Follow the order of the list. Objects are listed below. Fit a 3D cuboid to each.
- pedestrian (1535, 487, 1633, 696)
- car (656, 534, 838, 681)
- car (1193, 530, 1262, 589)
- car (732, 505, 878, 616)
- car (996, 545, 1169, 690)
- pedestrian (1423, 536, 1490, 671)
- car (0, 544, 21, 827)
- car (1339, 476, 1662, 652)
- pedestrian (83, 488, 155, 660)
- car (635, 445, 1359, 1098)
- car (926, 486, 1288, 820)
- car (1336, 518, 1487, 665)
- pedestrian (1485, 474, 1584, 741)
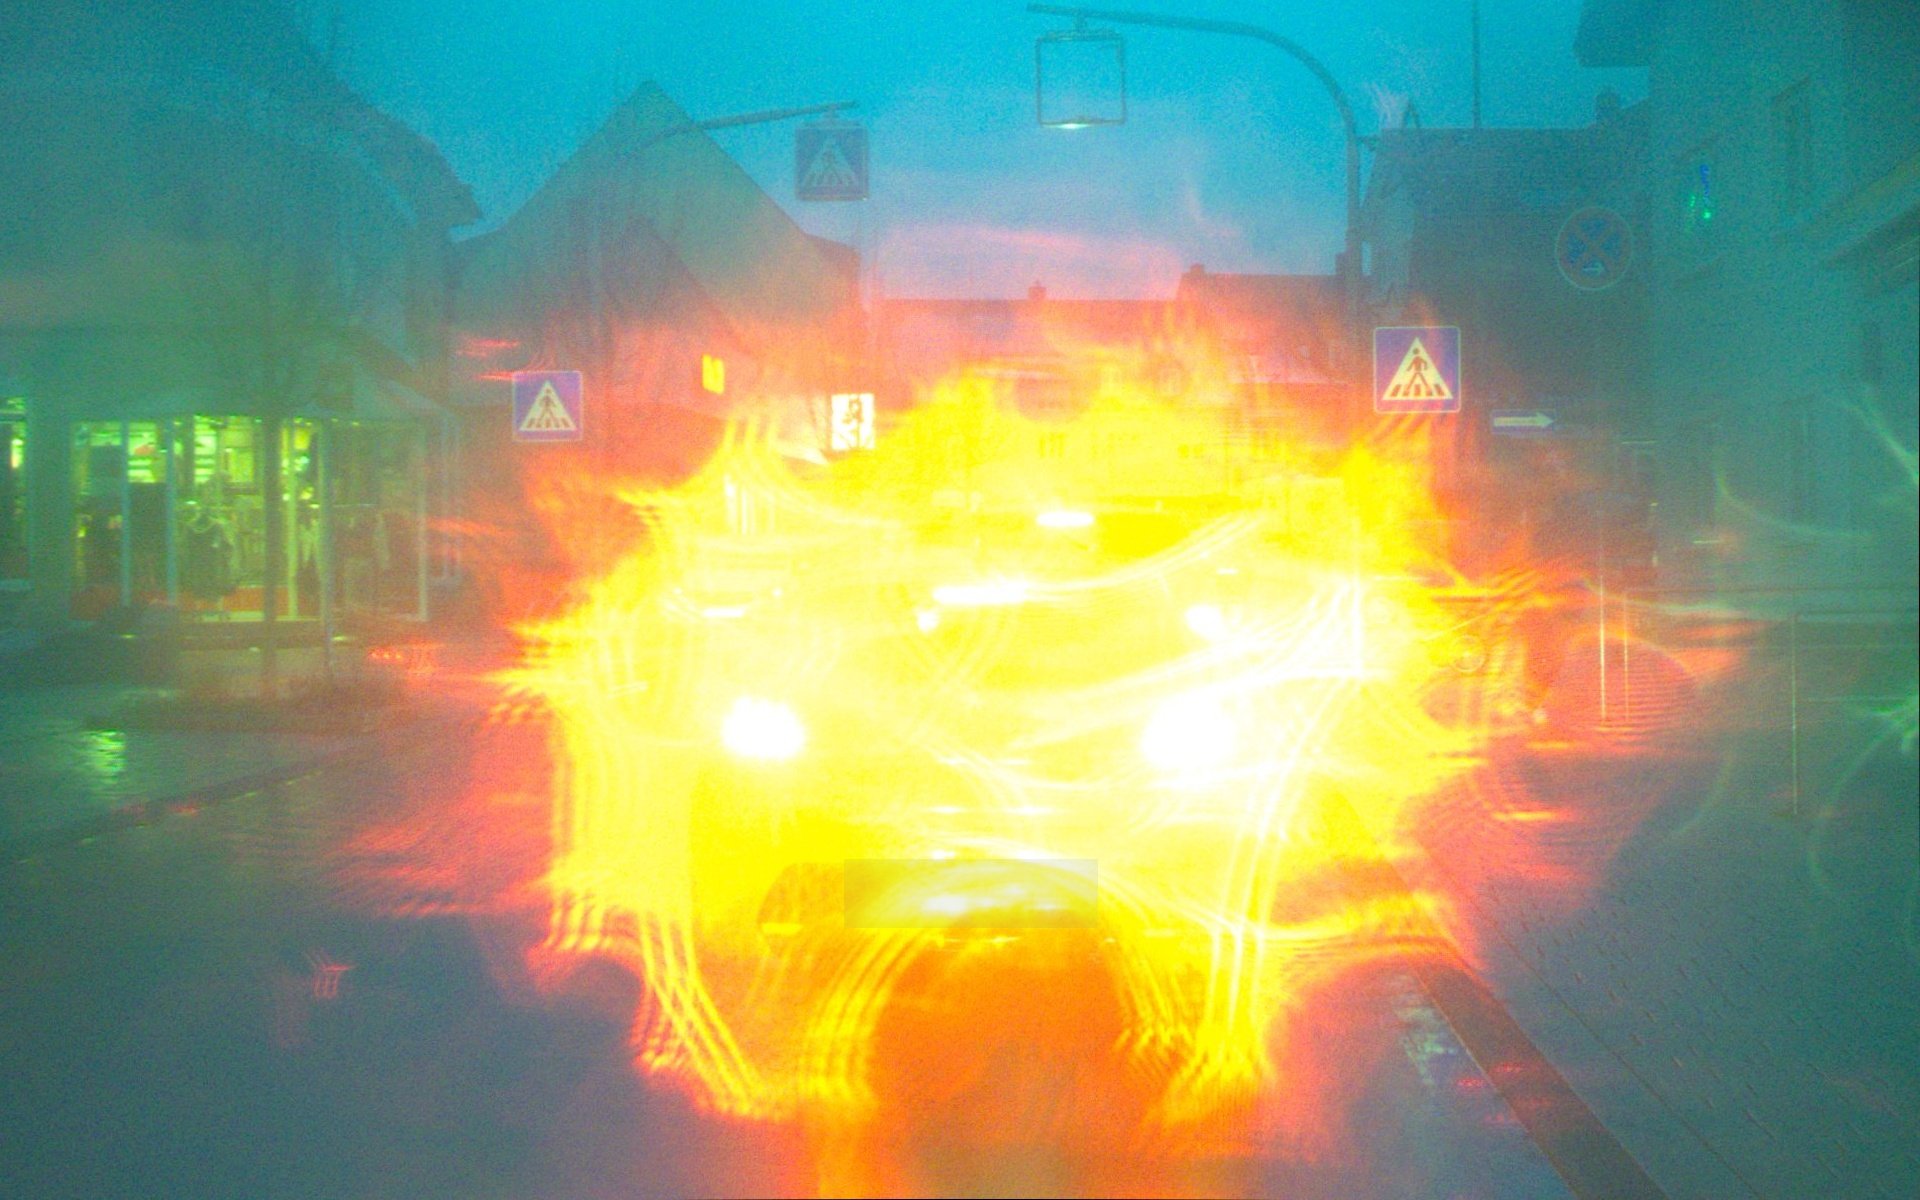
[{"bbox_3d":[5.674,-0.088,31.276,0.703,1.870,0.617,1,2,-3],"label":"pedestrian"},{"bbox_3d":[-2.987,0.069,49.124,1.994,2.007,4.361,0,1,5],"label":"car"},{"bbox_3d":[6.708,-1.034,86.432,1.534,1.241,3.647,-5,2,3],"label":"car"},{"bbox_3d":[-2.499,-0.664,56.291,1.994,1.746,4.361,0,1,3],"label":"car"},{"bbox_3d":[1.498,0.156,40.451,1.827,1.596,4.581,0,1,5],"label":"car"},{"bbox_3d":[4.559,0.029,31.582,0.553,1.229,0.434,0,1,-1],"label":"pedestrian"},{"bbox_3d":[-6.021,0.469,16.647,1.670,1.511,4.000,2,1,2],"label":"car"},{"bbox_3d":[6.395,-0.436,40.975,3.698,2.007,1.689,1,0,6],"label":"car"},{"bbox_3d":[-8.614,-0.269,35.224,0.587,1.736,0.684,0,1,-3],"label":"pedestrian"},{"bbox_3d":[0.316,0.405,11.812,1.994,1.789,4.648,0,2,6],"label":"car"},{"bbox_3d":[0.872,0.241,19.221,1.798,1.656,4.000,1,1,4],"label":"car"},{"bbox_3d":[6.536,-0.162,50.088,1.641,2.007,4.000,-2,1,0],"label":"car"},{"bbox_3d":[4.129,0.047,24.727,0.663,1.881,0.824,1,0,9],"label":"pedestrian"}]
